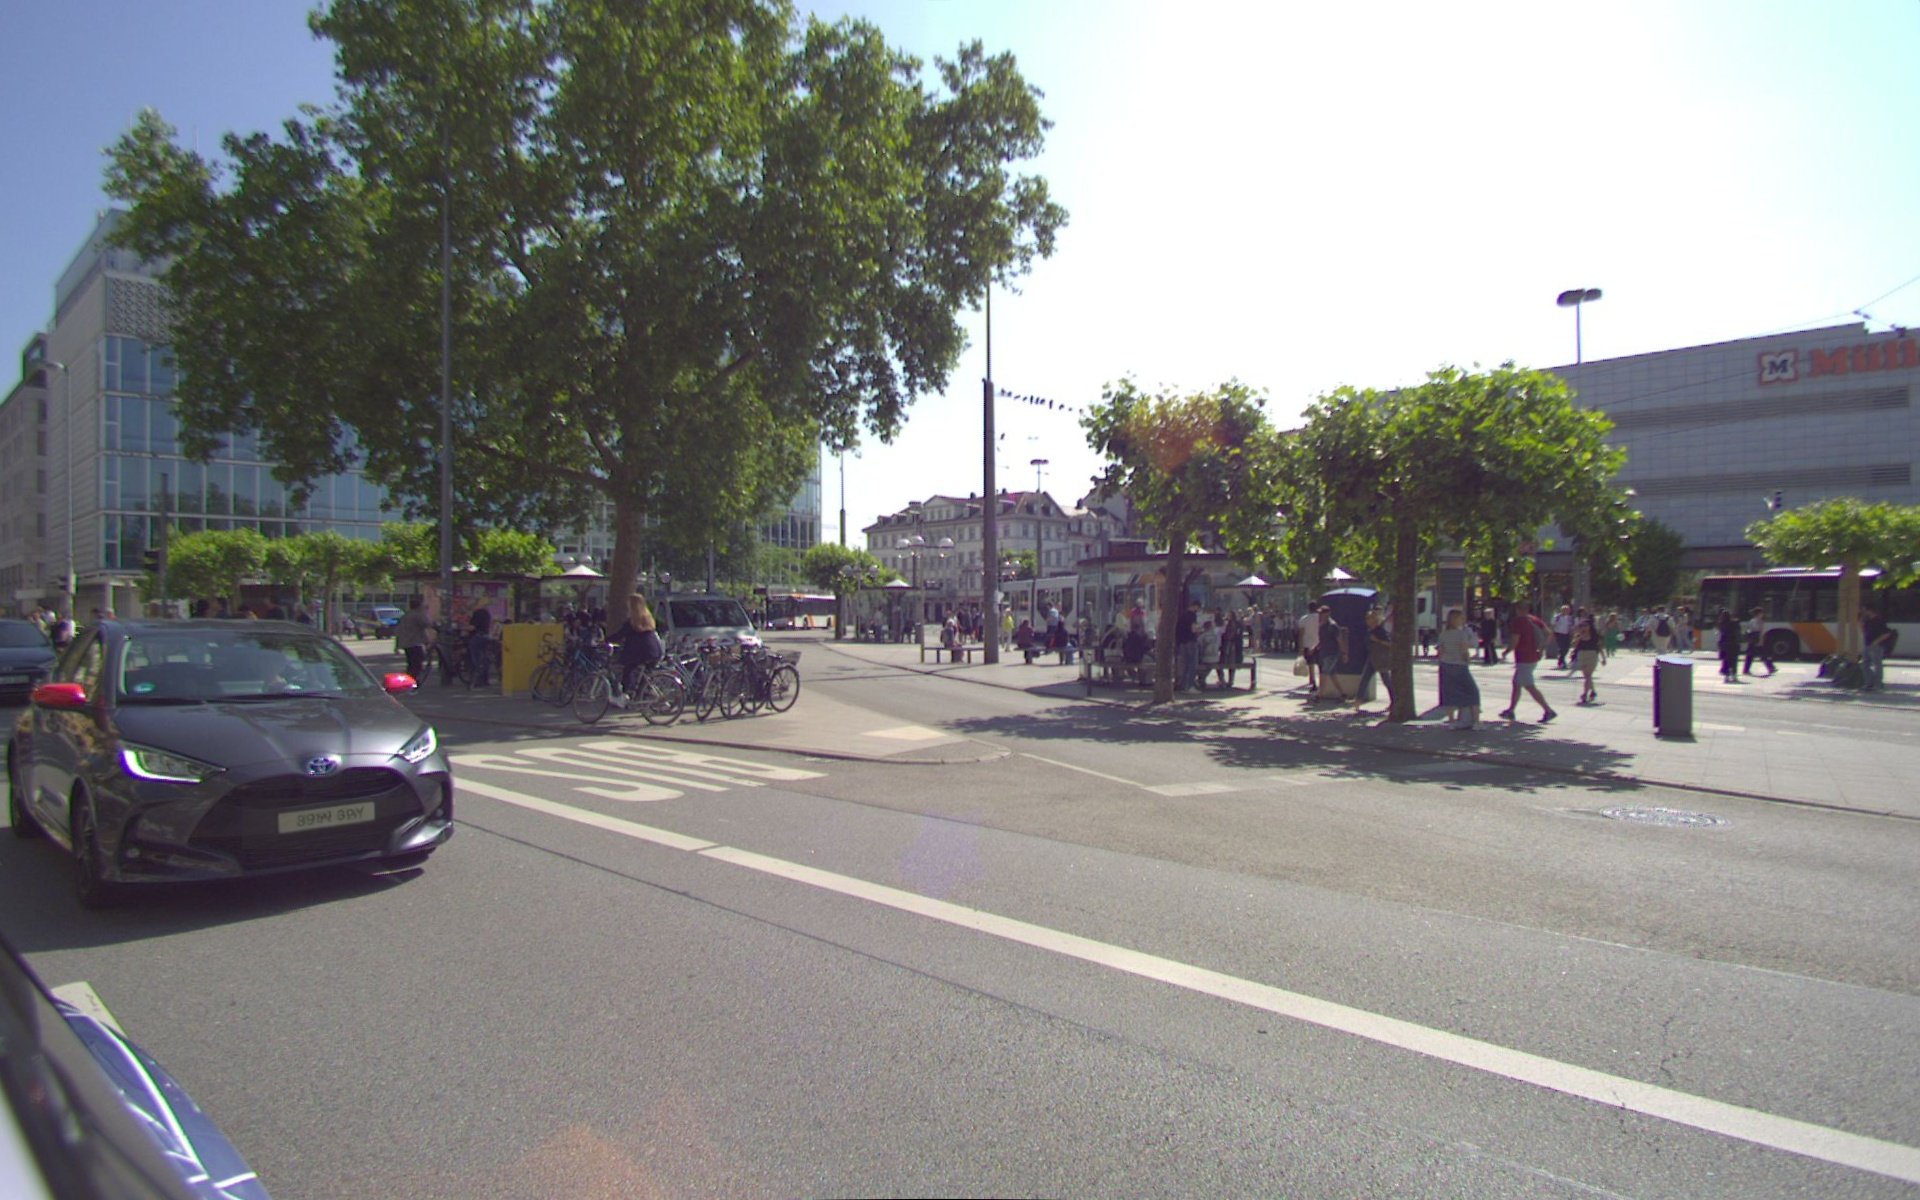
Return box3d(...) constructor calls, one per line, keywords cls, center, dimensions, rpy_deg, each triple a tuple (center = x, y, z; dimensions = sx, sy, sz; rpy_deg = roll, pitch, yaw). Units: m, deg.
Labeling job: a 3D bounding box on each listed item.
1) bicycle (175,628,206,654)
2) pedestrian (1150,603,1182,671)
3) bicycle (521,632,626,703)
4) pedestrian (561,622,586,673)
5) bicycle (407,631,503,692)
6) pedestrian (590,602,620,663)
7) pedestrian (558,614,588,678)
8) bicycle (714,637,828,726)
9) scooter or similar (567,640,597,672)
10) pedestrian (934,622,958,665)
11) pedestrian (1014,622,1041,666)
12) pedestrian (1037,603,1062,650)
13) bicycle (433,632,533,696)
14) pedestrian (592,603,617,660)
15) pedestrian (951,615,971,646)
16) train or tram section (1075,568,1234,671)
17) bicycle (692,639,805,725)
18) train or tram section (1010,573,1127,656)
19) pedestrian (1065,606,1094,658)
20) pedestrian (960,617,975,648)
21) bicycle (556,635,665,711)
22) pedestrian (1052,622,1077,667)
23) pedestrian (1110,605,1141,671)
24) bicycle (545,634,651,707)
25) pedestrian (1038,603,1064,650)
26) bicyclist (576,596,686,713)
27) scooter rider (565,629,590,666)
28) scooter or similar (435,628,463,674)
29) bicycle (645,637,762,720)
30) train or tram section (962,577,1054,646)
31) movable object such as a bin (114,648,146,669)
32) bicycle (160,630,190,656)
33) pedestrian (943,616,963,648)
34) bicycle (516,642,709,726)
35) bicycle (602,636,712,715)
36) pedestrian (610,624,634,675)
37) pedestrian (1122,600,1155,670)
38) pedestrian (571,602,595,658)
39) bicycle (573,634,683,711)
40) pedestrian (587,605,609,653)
box3d(cls="bicycle", center=(-35.653, 1.899, 46.877), dimensions=(1.753, 1.156, 0.586), rpy_deg=(-1, -1, 33))
box3d(cls="pedestrian", center=(5.562, 1.009, 27.283), dimensions=(0.578, 1.791, 0.671), rpy_deg=(-3, -5, 44))
box3d(cls="bicycle", center=(-6.807, 1.166, 17.880), dimensions=(0.482, 1.156, 1.735), rpy_deg=(-1, -1, 38))
box3d(cls="pedestrian", center=(-9.165, 1.118, 24.021), dimensions=(0.499, 1.182, 0.350), rpy_deg=(-2, 1, -16))
box3d(cls="bicycle", center=(-10.329, 1.228, 20.749), dimensions=(0.482, 1.156, 1.735), rpy_deg=(-1, -1, 38))
box3d(cls="pedestrian", center=(-10.390, 0.948, 29.616), dimensions=(0.611, 1.760, 0.532), rpy_deg=(-1, 1, 31))
box3d(cls="pedestrian", center=(-9.262, 1.094, 24.220), dimensions=(0.570, 1.472, 0.788), rpy_deg=(-2, 1, -16))
box3d(cls="bicycle", center=(-2.707, 1.146, 14.646), dimensions=(0.482, 1.156, 1.735), rpy_deg=(-1, -1, 38))
box3d(cls="scooter or similar", center=(-8.791, 1.296, 23.555), dimensions=(0.570, 0.652, 0.788), rpy_deg=(-2, 1, -16))
box3d(cls="pedestrian", center=(-0.430, 1.296, 30.377), dimensions=(0.483, 1.262, 0.491), rpy_deg=(-1, 1, 39))
box3d(cls="pedestrian", center=(1.912, 1.245, 28.573), dimensions=(0.551, 1.243, 0.573), rpy_deg=(-1, -4, 29))
box3d(cls="pedestrian", center=(3.061, 0.916, 34.524), dimensions=(0.669, 1.561, 0.580), rpy_deg=(2, -3, -15))
box3d(cls="bicycle", center=(-9.279, 1.226, 19.758), dimensions=(0.482, 1.156, 1.735), rpy_deg=(-1, -1, 38))
box3d(cls="pedestrian", center=(-10.692, 0.955, 30.437), dimensions=(0.470, 1.681, 0.498), rpy_deg=(-1, 1, 31))
box3d(cls="pedestrian", center=(0.049, 1.512, 49.892), dimensions=(0.547, 1.483, 0.759), rpy_deg=(-2, 1, -42))
box3d(cls="train or tram section", center=(8.000, 0.720, 43.394), dimensions=(2.578, 3.856, 9.547), rpy_deg=(-2, 1, -16))
box3d(cls="bicycle", center=(-3.101, 1.176, 14.963), dimensions=(0.482, 1.156, 1.735), rpy_deg=(-1, -1, 38))
box3d(cls="train or tram section", center=(5.377, 0.671, 52.597), dimensions=(2.578, 3.856, 9.547), rpy_deg=(-2, 1, -16))
box3d(cls="pedestrian", center=(3.646, 0.993, 30.868), dimensions=(0.657, 1.561, 0.565), rpy_deg=(-2, -4, 43))
box3d(cls="pedestrian", center=(0.354, 1.562, 48.595), dimensions=(0.547, 1.483, 0.457), rpy_deg=(-2, 1, -42))
box3d(cls="bicycle", center=(-5.846, 1.194, 17.004), dimensions=(0.482, 1.156, 1.735), rpy_deg=(-1, -1, 38))
box3d(cls="pedestrian", center=(2.870, 1.235, 27.855), dimensions=(0.524, 1.211, 0.539), rpy_deg=(-1, -4, 29))
box3d(cls="pedestrian", center=(4.728, 1.088, 28.859), dimensions=(0.568, 1.855, 0.682), rpy_deg=(2, -4, -28))
box3d(cls="bicycle", center=(-6.214, 1.186, 17.467), dimensions=(0.482, 1.156, 1.735), rpy_deg=(-1, -1, 38))
box3d(cls="pedestrian", center=(3.048, 0.894, 33.847), dimensions=(0.669, 1.561, 0.580), rpy_deg=(2, -4, -29))
box3d(cls="bicyclist", center=(-4.490, 0.725, 13.841), dimensions=(1.152, 1.509, 0.826), rpy_deg=(-1, 1, 21))
box3d(cls="scooter rider", center=(-8.933, 1.109, 23.672), dimensions=(0.499, 0.845, 0.350), rpy_deg=(-2, 1, -16))
box3d(cls="scooter or similar", center=(-13.157, 1.314, 26.063), dimensions=(0.559, 1.128, 0.540), rpy_deg=(-2, 1, -22))
box3d(cls="bicycle", center=(-3.917, 1.170, 15.594), dimensions=(0.482, 1.156, 1.842), rpy_deg=(-1, -1, 38))
box3d(cls="train or tram section", center=(2.746, 0.623, 61.781), dimensions=(2.578, 3.856, 9.547), rpy_deg=(-2, 1, -16))
box3d(cls="movable object such as a bin", center=(-25.864, 1.821, 31.540), dimensions=(0.528, 0.584, 0.654), rpy_deg=(-1, 1, 39))
box3d(cls="bicycle", center=(-35.984, 1.940, 46.376), dimensions=(1.753, 1.156, 0.586), rpy_deg=(-1, -1, 33))
box3d(cls="pedestrian", center=(-0.325, 1.497, 47.818), dimensions=(0.547, 1.483, 0.759), rpy_deg=(-2, 1, -42))
box3d(cls="bicycle", center=(-4.817, 1.132, 14.001), dimensions=(2.608, 1.030, 0.825), rpy_deg=(-1, 1, 22))
box3d(cls="bicycle", center=(-4.841, 1.178, 16.247), dimensions=(0.482, 1.156, 1.735), rpy_deg=(-1, -1, 38))
box3d(cls="pedestrian", center=(-8.320, 1.217, 24.920), dimensions=(0.493, 1.215, 0.461), rpy_deg=(-2, 1, -16))
box3d(cls="pedestrian", center=(4.679, 0.927, 26.538), dimensions=(0.568, 1.791, 0.682), rpy_deg=(2, -4, -28))
box3d(cls="pedestrian", center=(-12.054, 0.955, 32.346), dimensions=(0.547, 1.740, 0.492), rpy_deg=(-2, 1, -42))
box3d(cls="bicycle", center=(-5.424, 1.156, 16.605), dimensions=(0.482, 1.156, 1.735), rpy_deg=(-1, -1, 38))
box3d(cls="pedestrian", center=(-11.780, 0.933, 32.935), dimensions=(0.484, 1.537, 0.457), rpy_deg=(-2, 1, -42))
